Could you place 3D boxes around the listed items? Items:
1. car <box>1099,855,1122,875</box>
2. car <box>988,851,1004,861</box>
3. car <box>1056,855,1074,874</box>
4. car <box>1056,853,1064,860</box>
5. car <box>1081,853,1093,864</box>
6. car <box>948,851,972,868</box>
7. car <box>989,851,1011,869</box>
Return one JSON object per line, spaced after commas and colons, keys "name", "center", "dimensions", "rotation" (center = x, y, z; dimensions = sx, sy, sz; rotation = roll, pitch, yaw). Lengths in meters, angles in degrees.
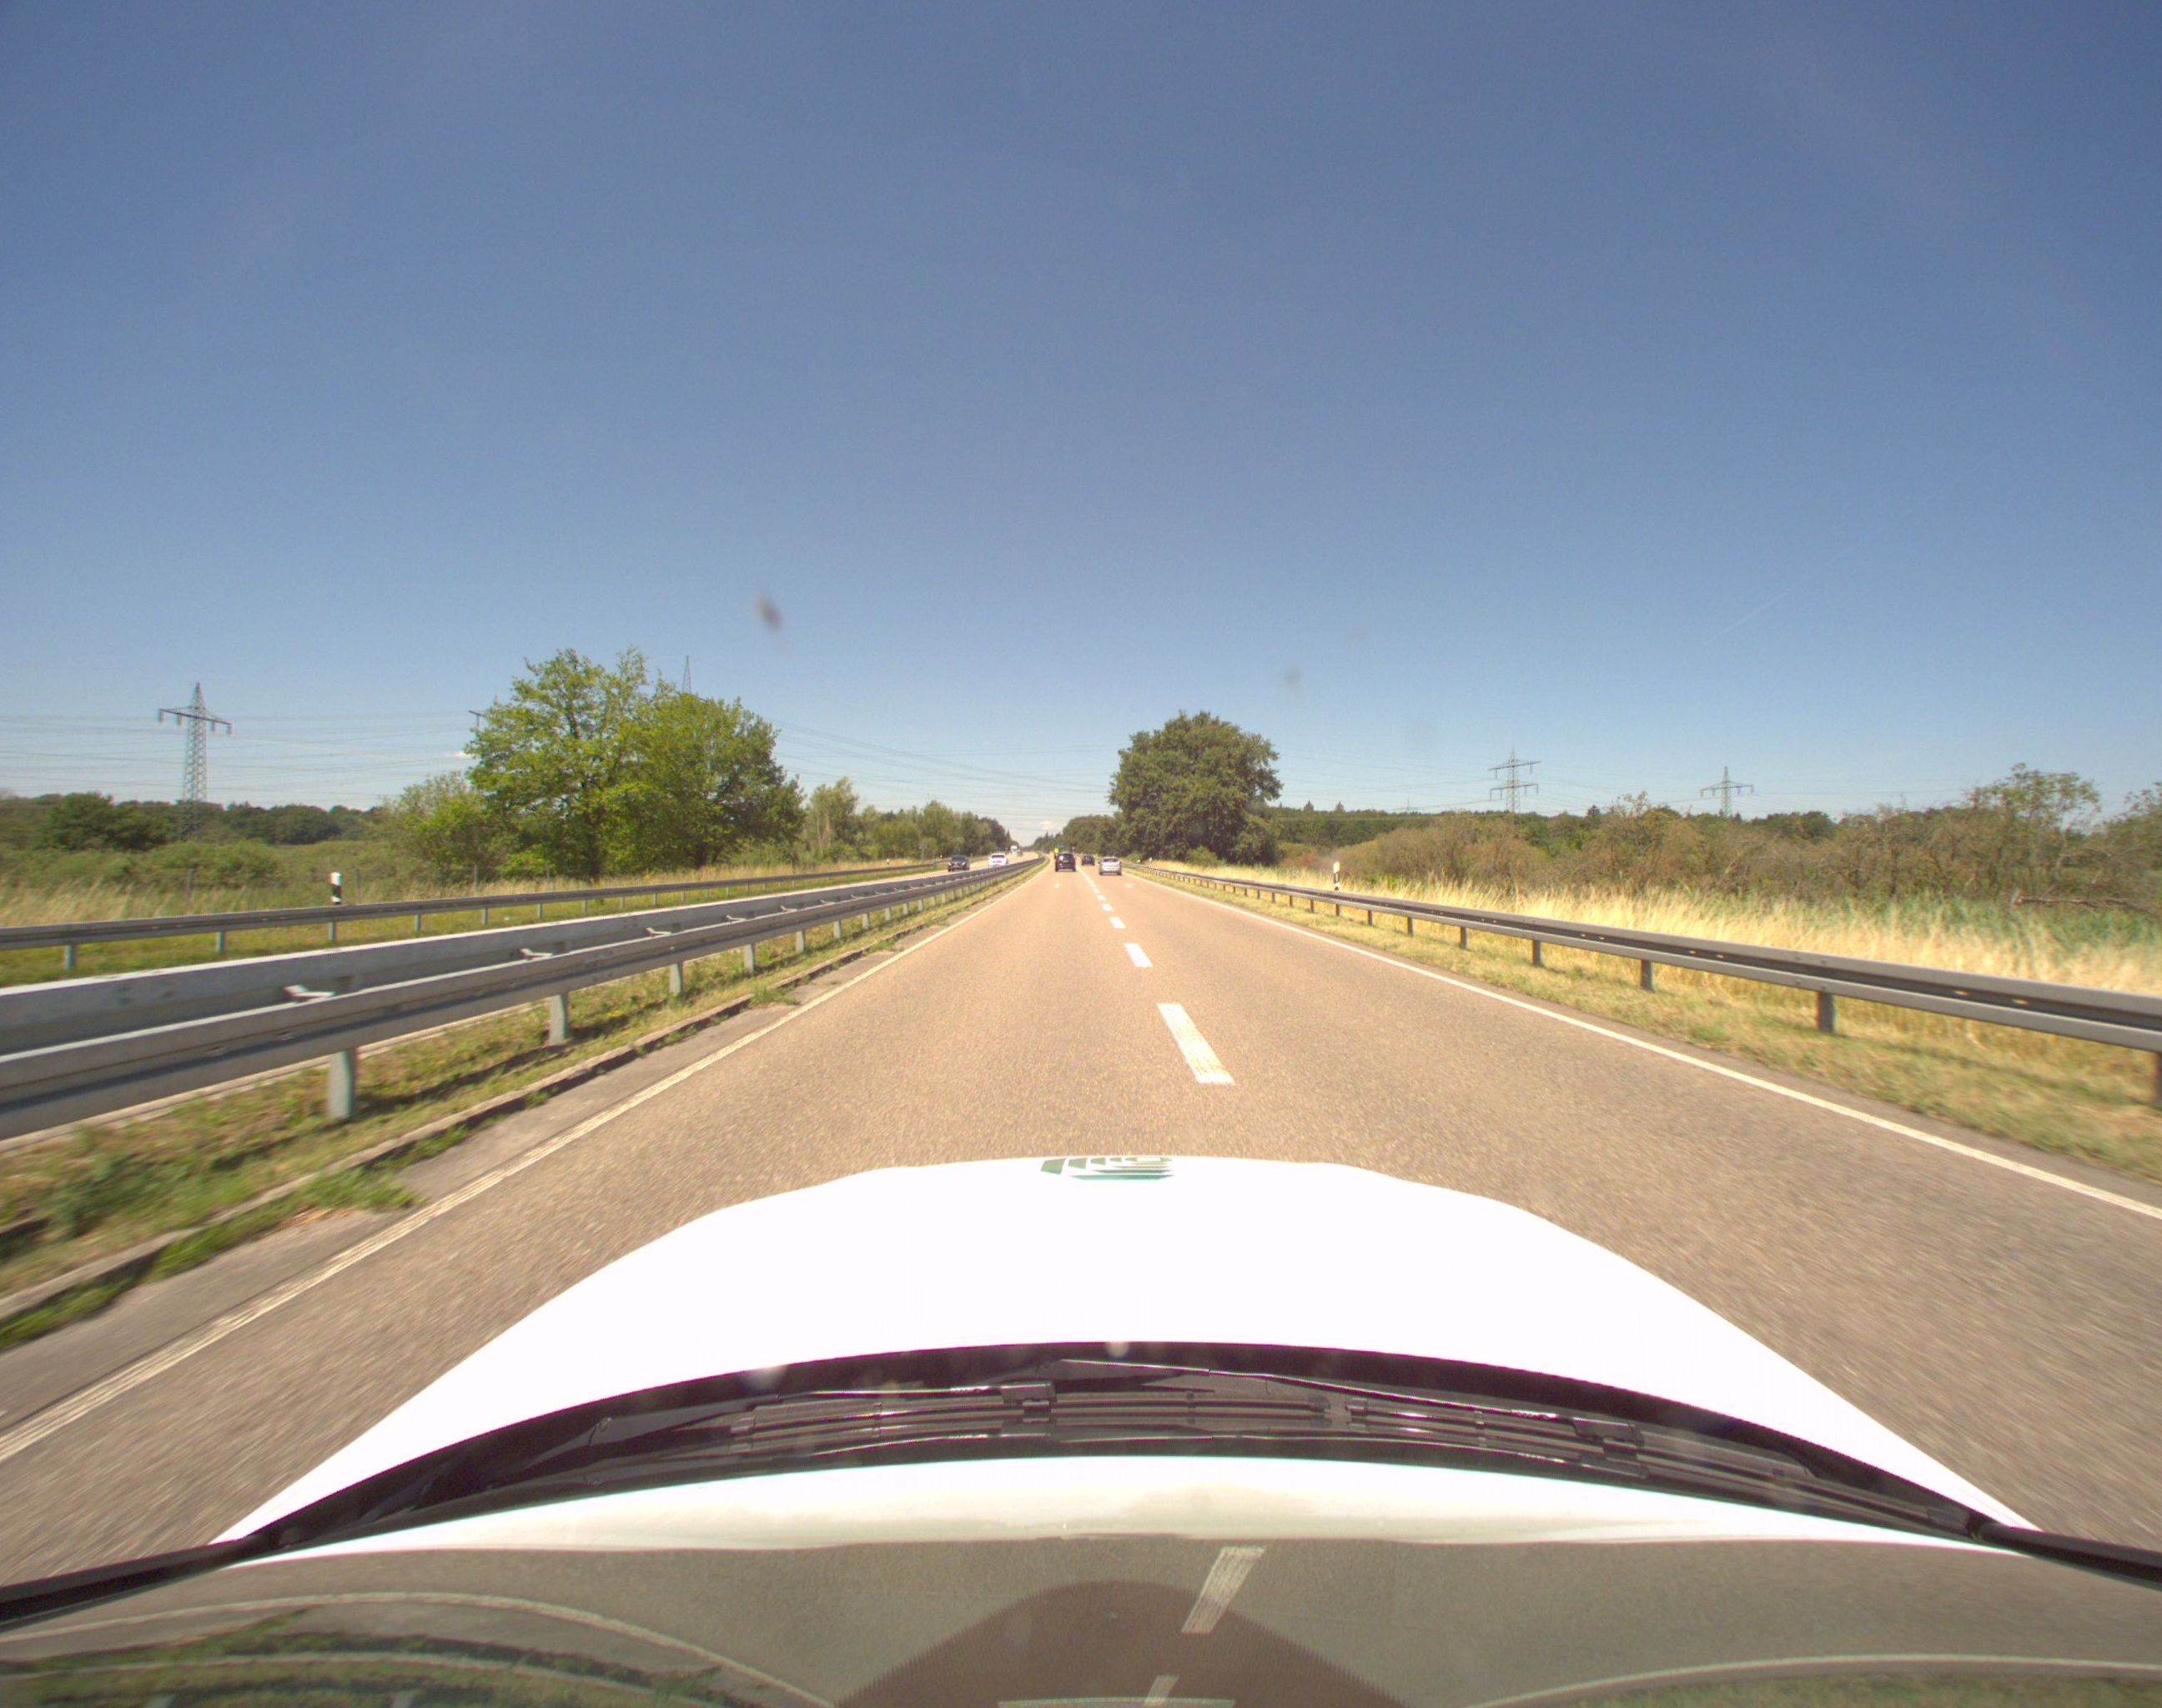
{"name": "car", "center": [2.320, 0.845, 64.602], "dimensions": [1.635, 1.468, 3.417], "rotation": [2, 0, -1]}
{"name": "car", "center": [-12.891, 0.273, 124.256], "dimensions": [1.918, 1.385, 4.657], "rotation": [-1, 0, 0]}
{"name": "car", "center": [-1.472, 0.939, 76.437], "dimensions": [1.635, 1.653, 3.572], "rotation": [2, 0, -1]}
{"name": "car", "center": [-4.893, 0.605, 193.331], "dimensions": [1.709, 1.471, 3.569], "rotation": [2, 0, -4]}
{"name": "car", "center": [0.827, 0.629, 110.758], "dimensions": [1.635, 1.342, 3.573], "rotation": [2, 0, 0]}
{"name": "car", "center": [-11.896, 0.497, 80.339], "dimensions": [1.837, 1.618, 4.169], "rotation": [0, 0, -1]}
{"name": "car", "center": [-8.774, 0.636, 88.196], "dimensions": [1.974, 1.807, 4.966], "rotation": [0, 0, -1]}
